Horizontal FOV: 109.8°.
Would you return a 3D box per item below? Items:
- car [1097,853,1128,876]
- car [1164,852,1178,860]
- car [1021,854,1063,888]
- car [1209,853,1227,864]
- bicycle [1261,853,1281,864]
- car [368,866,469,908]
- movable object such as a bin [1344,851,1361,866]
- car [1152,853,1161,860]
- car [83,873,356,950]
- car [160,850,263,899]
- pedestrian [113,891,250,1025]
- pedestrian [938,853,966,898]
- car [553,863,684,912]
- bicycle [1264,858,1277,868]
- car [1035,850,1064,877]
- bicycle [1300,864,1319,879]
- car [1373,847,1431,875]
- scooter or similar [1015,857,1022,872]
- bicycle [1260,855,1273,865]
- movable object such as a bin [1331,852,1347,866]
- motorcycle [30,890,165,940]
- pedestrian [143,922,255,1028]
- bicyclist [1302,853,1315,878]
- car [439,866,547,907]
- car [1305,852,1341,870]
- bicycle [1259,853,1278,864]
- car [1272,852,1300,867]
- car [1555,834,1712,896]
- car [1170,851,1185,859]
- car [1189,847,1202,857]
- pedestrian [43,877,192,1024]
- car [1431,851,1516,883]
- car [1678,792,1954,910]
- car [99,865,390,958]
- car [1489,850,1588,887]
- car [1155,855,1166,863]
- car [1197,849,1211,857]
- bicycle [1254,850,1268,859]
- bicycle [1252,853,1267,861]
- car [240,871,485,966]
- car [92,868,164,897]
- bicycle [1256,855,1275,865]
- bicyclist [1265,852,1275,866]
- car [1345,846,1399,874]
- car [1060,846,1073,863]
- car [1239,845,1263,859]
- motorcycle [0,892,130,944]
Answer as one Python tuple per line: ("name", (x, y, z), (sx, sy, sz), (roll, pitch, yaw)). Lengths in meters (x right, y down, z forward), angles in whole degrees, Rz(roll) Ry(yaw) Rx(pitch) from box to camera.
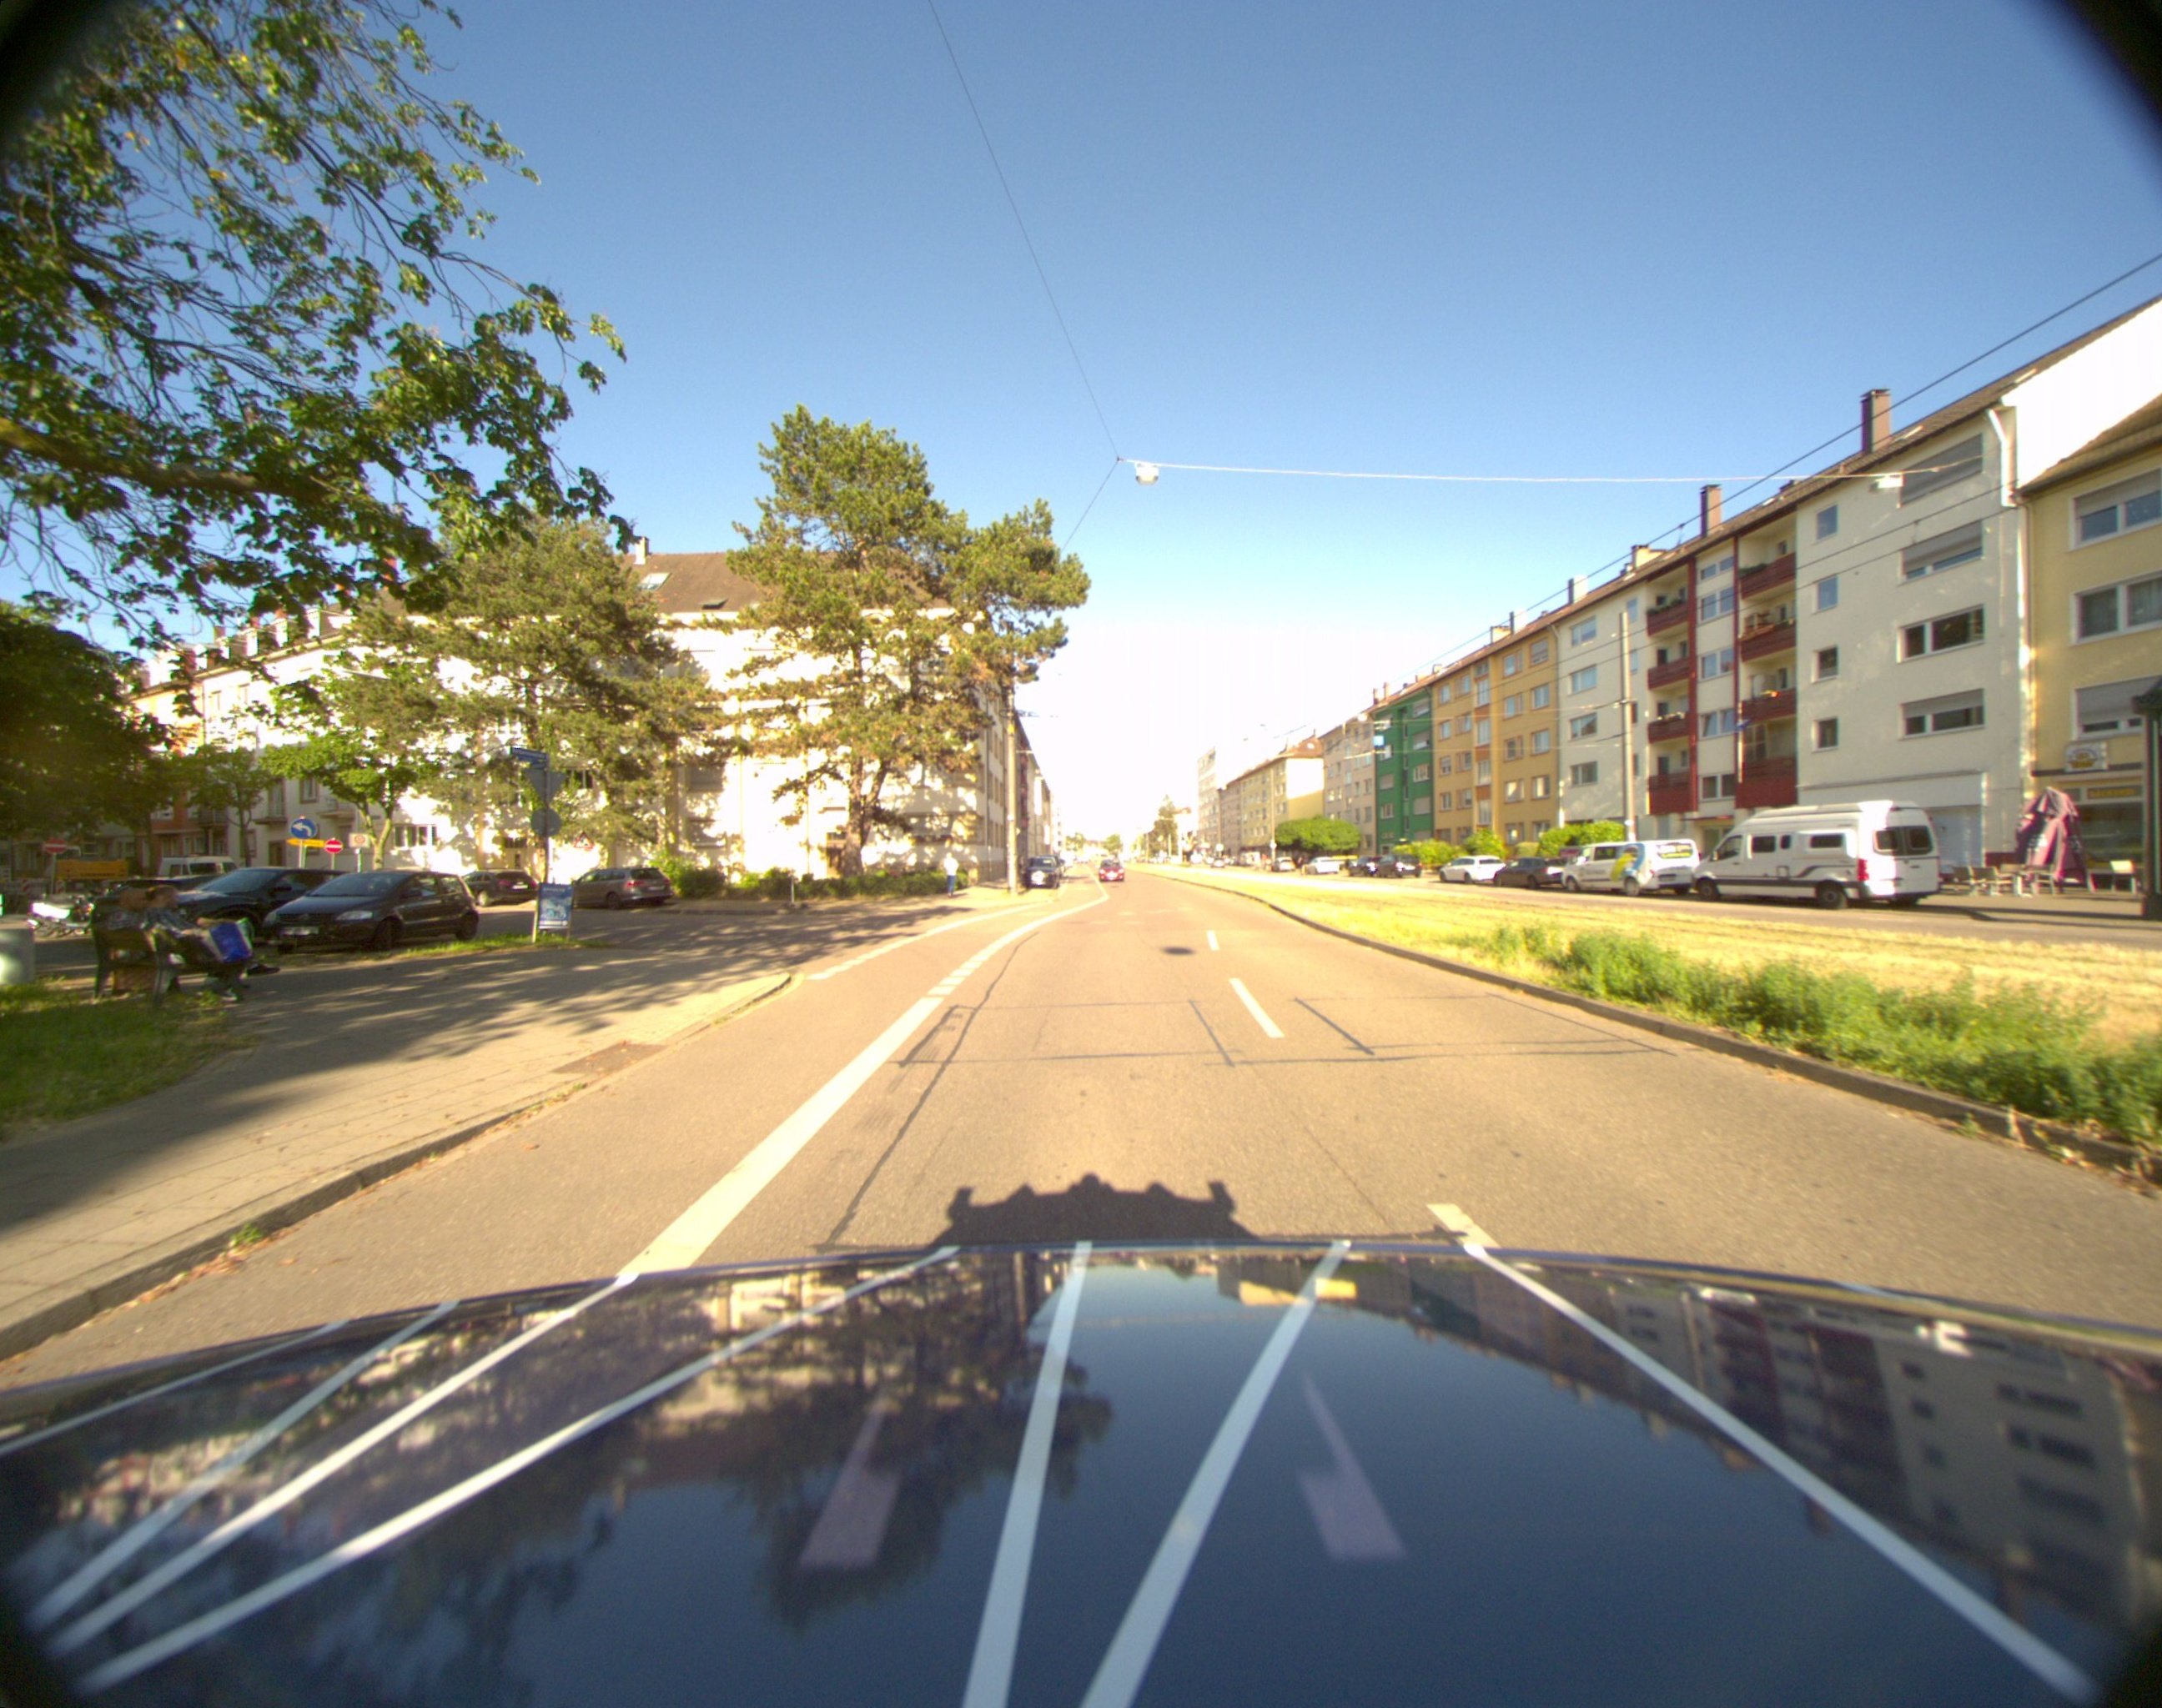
("car", (2.017, 0.668, 49.710), (1.862, 1.461, 3.808), (0, 0, 1))
("car", (17.593, 0.319, 148.258), (1.788, 1.519, 4.413), (0, 0, -5))
("car", (-2.095, 0.875, 41.802), (1.883, 1.707, 4.934), (2, 0, 1))
("car", (18.103, 0.627, 100.439), (1.698, 1.439, 4.217), (0, 0, 1))
("bicycle", (21.644, 0.549, 86.657), (2.052, 1.086, 0.616), (-3, 1, 6))
("car", (-28.715, 1.413, 32.919), (3.903, 1.701, 1.773), (-2, 0, 24))
("movable object such as a bin", (26.285, 0.400, 73.566), (1.149, 1.360, 1.039), (-3, 1, 3))
("car", (17.263, 0.587, 173.079), (1.617, 1.550, 4.000), (1, 0, -1))
("car", (-19.274, 1.193, 17.340), (1.640, 1.432, 4.239), (0, 0, -5))
("car", (-48.777, 1.149, 42.615), (5.306, 2.428, 2.129), (-3, 0, 23))
("pedestrian", (-9.022, 1.011, 7.641), (0.403, 1.219, 0.762), (-3, 1, 27))
("pedestrian", (-4.960, 0.817, 29.249), (0.882, 1.712, 0.725), (-1, 0, 6))
("car", (-16.525, 1.134, 27.122), (4.294, 1.493, 1.771), (0, 4, 24))
("bicycle", (18.252, 0.845, 73.132), (0.770, 0.874, 2.069), (1, 0, 0))
("car", (-2.347, 0.711, 57.726), (1.918, 1.888, 5.134), (2, 0, 0))
("bicycle", (18.608, 1.395, 61.964), (0.770, 1.139, 2.474), (1, 0, 0))
("car", (20.973, 0.446, 49.813), (1.998, 1.598, 4.151), (-4, 0, 0))
("scooter or similar", (-5.152, 0.872, 62.564), (0.459, 1.231, 1.338), (3, 0, 1))
("bicycle", (20.546, 0.648, 84.226), (0.511, 1.086, 1.934), (-4, 0, -11))
("movable object such as a bin", (24.985, 0.480, 73.533), (1.149, 1.360, 1.039), (-3, 1, 3))
("motorcycle", (-22.386, 1.387, 17.340), (1.785, 1.066, 0.713), (2, -1, -16))
("pedestrian", (-8.593, 1.158, 7.416), (0.403, 0.928, 0.624), (-3, -2, 27))
("bicyclist", (18.612, 0.942, 62.229), (0.775, 2.002, 0.648), (-4, 1, 0))
("car", (-23.659, 1.267, 30.568), (3.902, 1.461, 1.773), (0, 0, 24))
("car", (20.755, 0.575, 65.299), (1.733, 1.446, 4.376), (-2, 0, 0))
("bicycle", (21.582, 0.506, 87.359), (2.052, 1.086, 0.616), (-3, 1, 6))
("car", (21.030, 0.549, 78.117), (1.640, 1.433, 3.733), (-3, 0, -2))
("car", (20.761, 0.382, 28.930), (2.037, 2.009, 5.370), (-3, 0, 1))
("car", (18.059, 0.229, 142.251), (1.839, 1.377, 4.413), (0, 0, -6))
("car", (25.207, -0.410, 167.131), (1.999, 1.887, 4.669), (-3, 0, -2))
("pedestrian", (-9.815, 0.949, 7.755), (0.685, 1.365, 0.756), (-3, 1, 27))
("car", (20.670, 0.641, 40.220), (1.897, 1.483, 4.702), (-3, 0, -2))
("car", (20.787, -0.083, 22.076), (2.037, 2.852, 6.228), (-2, 0, 1))
("car", (-16.339, 1.028, 15.162), (1.455, 1.563, 3.810), (0, 0, 4))
("car", (20.727, 0.618, 34.650), (1.699, 1.506, 4.325), (-2, 0, -3))
("car", (17.108, 1.083, 163.335), (1.862, 1.541, 4.239), (1, 0, -2))
("car", (23.526, -0.149, 145.444), (1.763, 1.477, 4.199), (-4, 0, 0))
("bicycle", (25.651, 0.066, 108.105), (1.824, 1.099, 0.390), (-4, 1, 0))
("bicycle", (25.823, 0.459, 110.020), (2.103, 1.099, 0.472), (-4, 1, 0))
("car", (-13.512, 1.113, 14.640), (1.641, 1.485, 3.804), (0, 0, -11))
("car", (-61.021, 1.804, 48.628), (3.991, 1.601, 1.803), (-3, 0, 23))
("bicycle", (21.655, 0.675, 89.231), (2.052, 1.086, 0.616), (-3, 1, 6))
("bicyclist", (18.226, 0.505, 73.242), (0.775, 1.376, 0.648), (-1, 1, 0))
("car", (20.924, 0.379, 54.832), (1.998, 1.827, 4.609), (-3, 0, 0))
("car", (-2.495, 0.079, 130.188), (2.156, 2.680, 6.291), (1, 0, 0))
("car", (25.400, -0.273, 113.911), (1.999, 1.938, 5.499), (-4, 0, -3))
("motorcycle", (-22.207, 1.386, 16.531), (1.785, 1.066, 0.713), (2, -1, -16))
